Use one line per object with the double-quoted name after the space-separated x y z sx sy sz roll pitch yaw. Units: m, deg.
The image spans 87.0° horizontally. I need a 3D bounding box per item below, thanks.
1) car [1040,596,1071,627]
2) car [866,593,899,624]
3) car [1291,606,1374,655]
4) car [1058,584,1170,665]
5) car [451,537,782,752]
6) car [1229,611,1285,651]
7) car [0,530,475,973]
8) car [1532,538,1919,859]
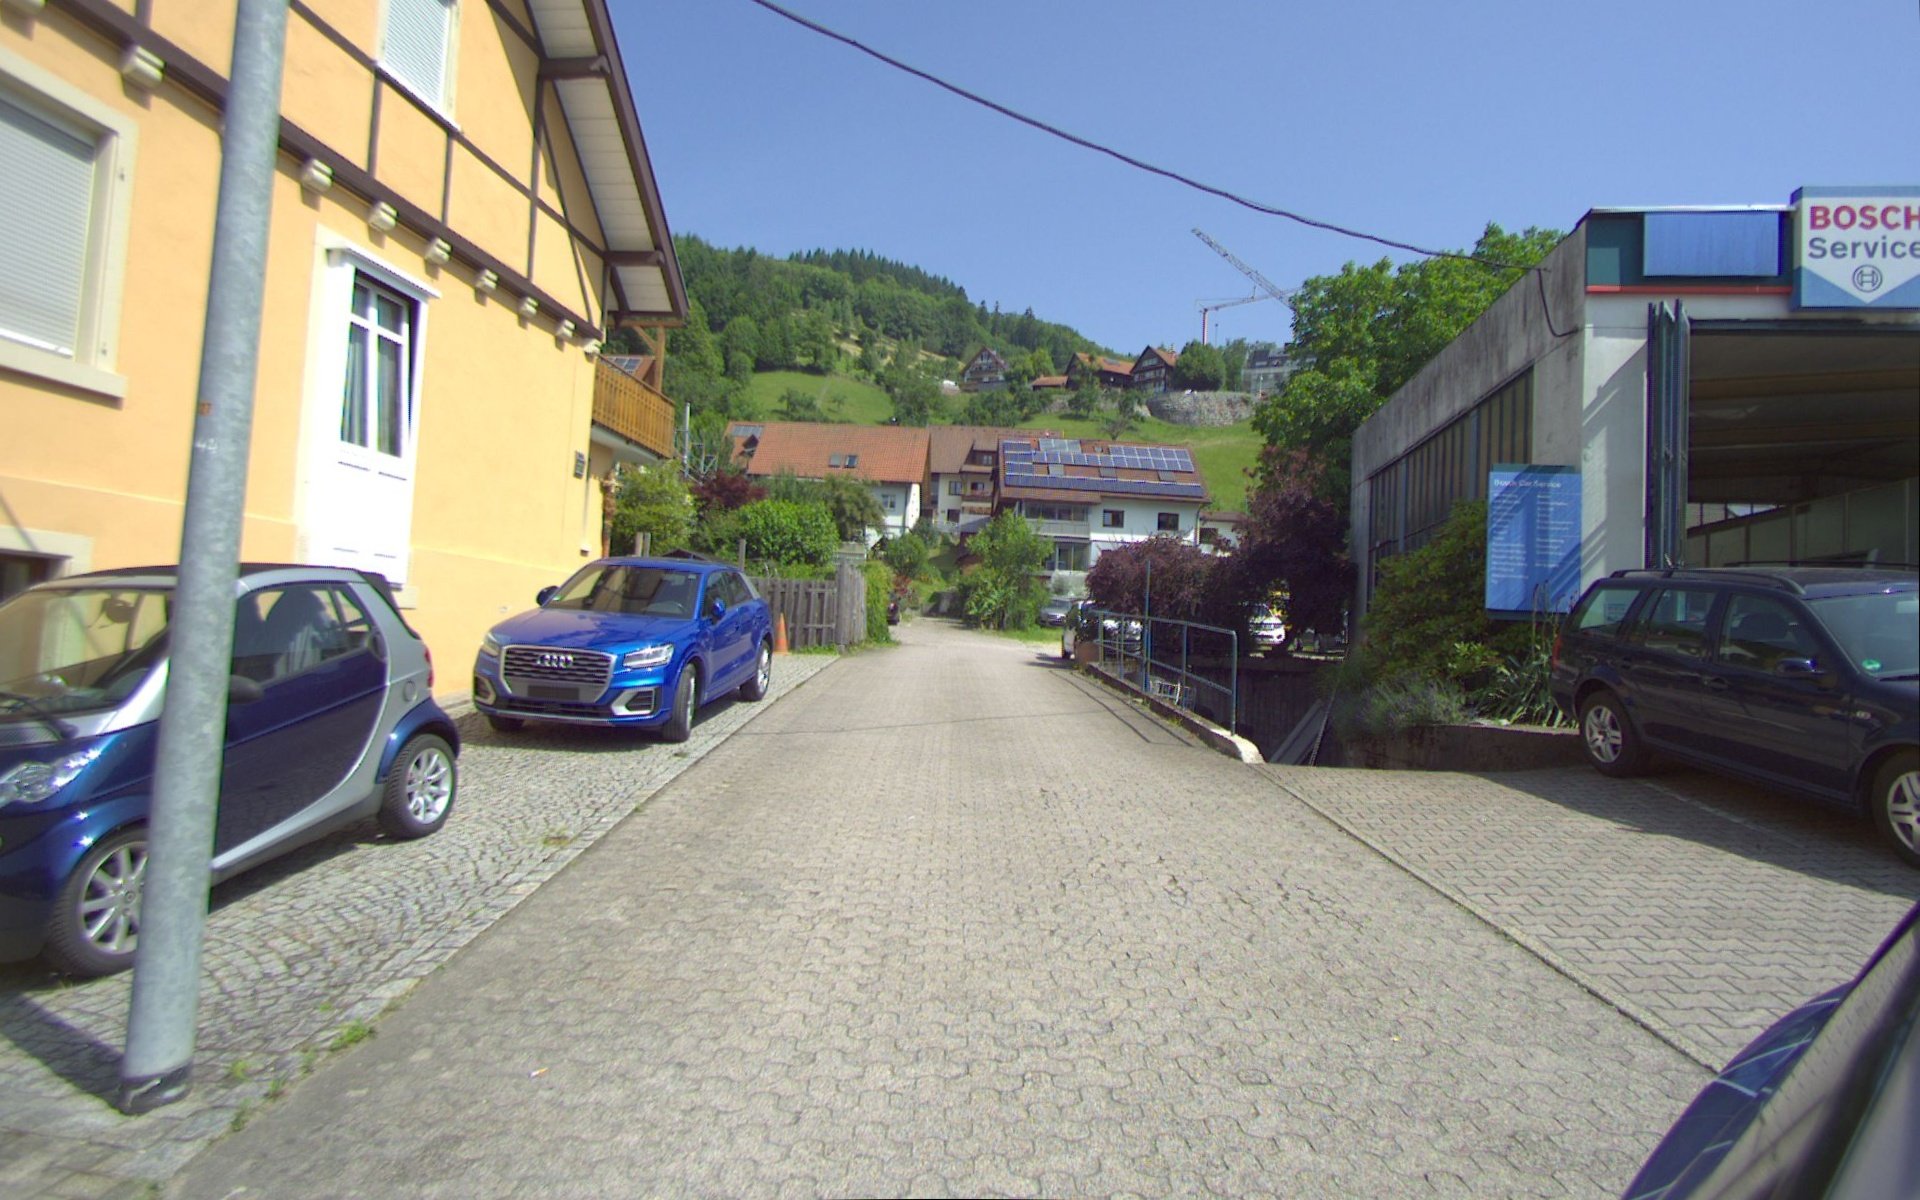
4.546 0.537 48.524 1.320 1.388 3.211 0 0 3 "car"
-3.080 0.329 40.498 1.091 1.077 2.866 4 1 -2 "car"
13.284 1.053 36.317 1.649 1.575 3.908 0 0 2 "car"
3.407 0.487 23.224 1.963 1.665 4.875 0 0 2 "car"
-3.046 0.323 9.887 1.703 1.646 3.931 1 0 3 "car"
10.878 1.114 37.207 1.443 1.274 3.380 2 1 8 "car"
-3.782 0.469 4.912 1.400 1.555 2.660 -1 3 5 "car"
5.550 0.453 6.051 1.766 1.564 4.331 -1 1 0 "car"
